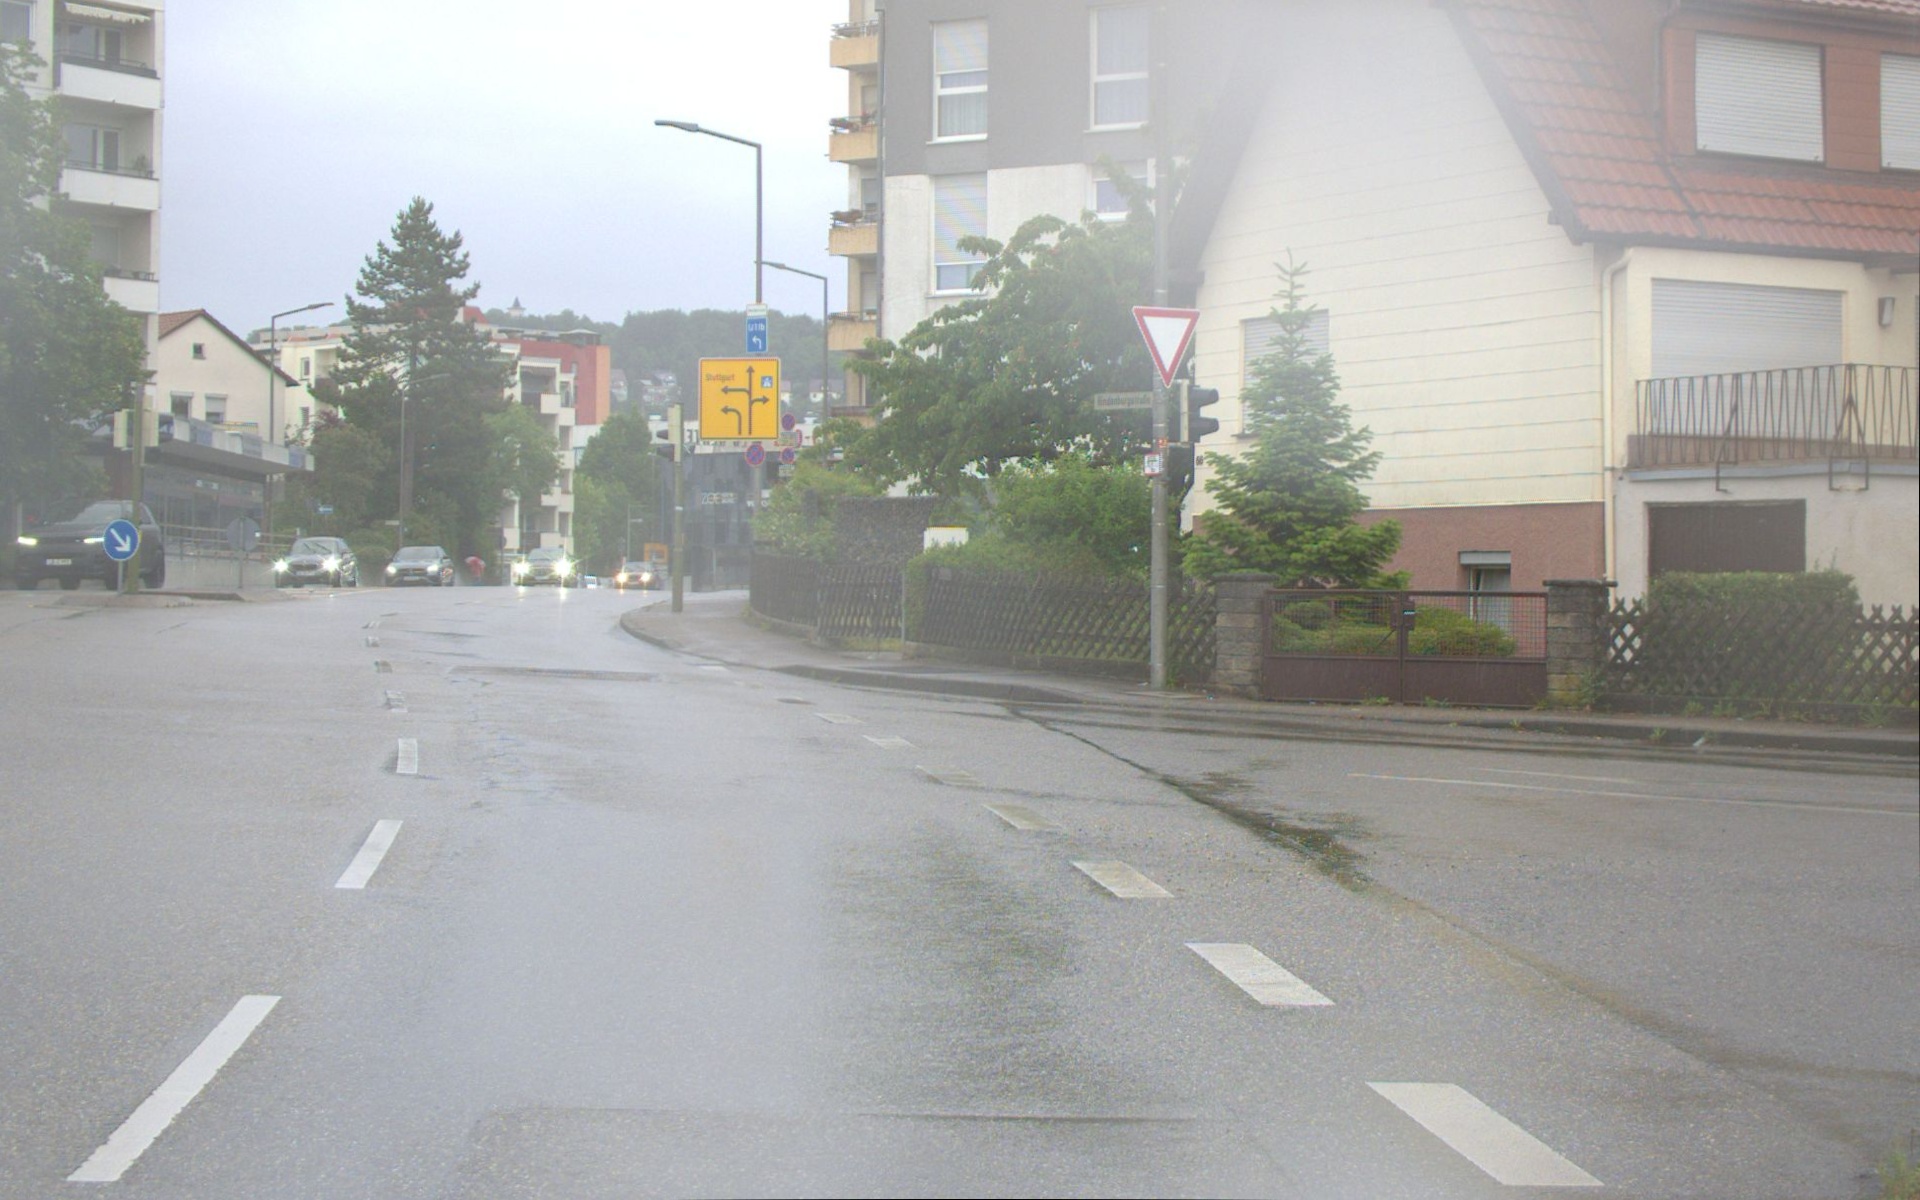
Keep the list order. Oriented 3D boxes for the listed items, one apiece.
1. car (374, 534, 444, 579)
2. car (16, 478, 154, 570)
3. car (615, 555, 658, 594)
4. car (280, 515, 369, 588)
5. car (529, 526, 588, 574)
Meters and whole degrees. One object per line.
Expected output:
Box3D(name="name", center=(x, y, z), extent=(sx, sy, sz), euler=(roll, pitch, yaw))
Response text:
Box3D(name="car", center=(-18.285, -1.442, 114.280), extent=(1.993, 1.458, 4.001), euler=(1, 1, -5))
Box3D(name="car", center=(-17.378, -1.491, 68.501), extent=(1.993, 1.731, 5.182), euler=(1, 1, -7))
Box3D(name="car", center=(-15.245, -1.197, 162.249), extent=(1.993, 1.805, 4.001), euler=(1, 1, -5))
Box3D(name="car", center=(-17.217, -1.302, 93.242), extent=(1.993, 1.897, 4.001), euler=(1, 1, -5))
Box3D(name="car", center=(-14.404, -1.787, 123.515), extent=(1.993, 1.673, 4.001), euler=(1, 1, -5))
